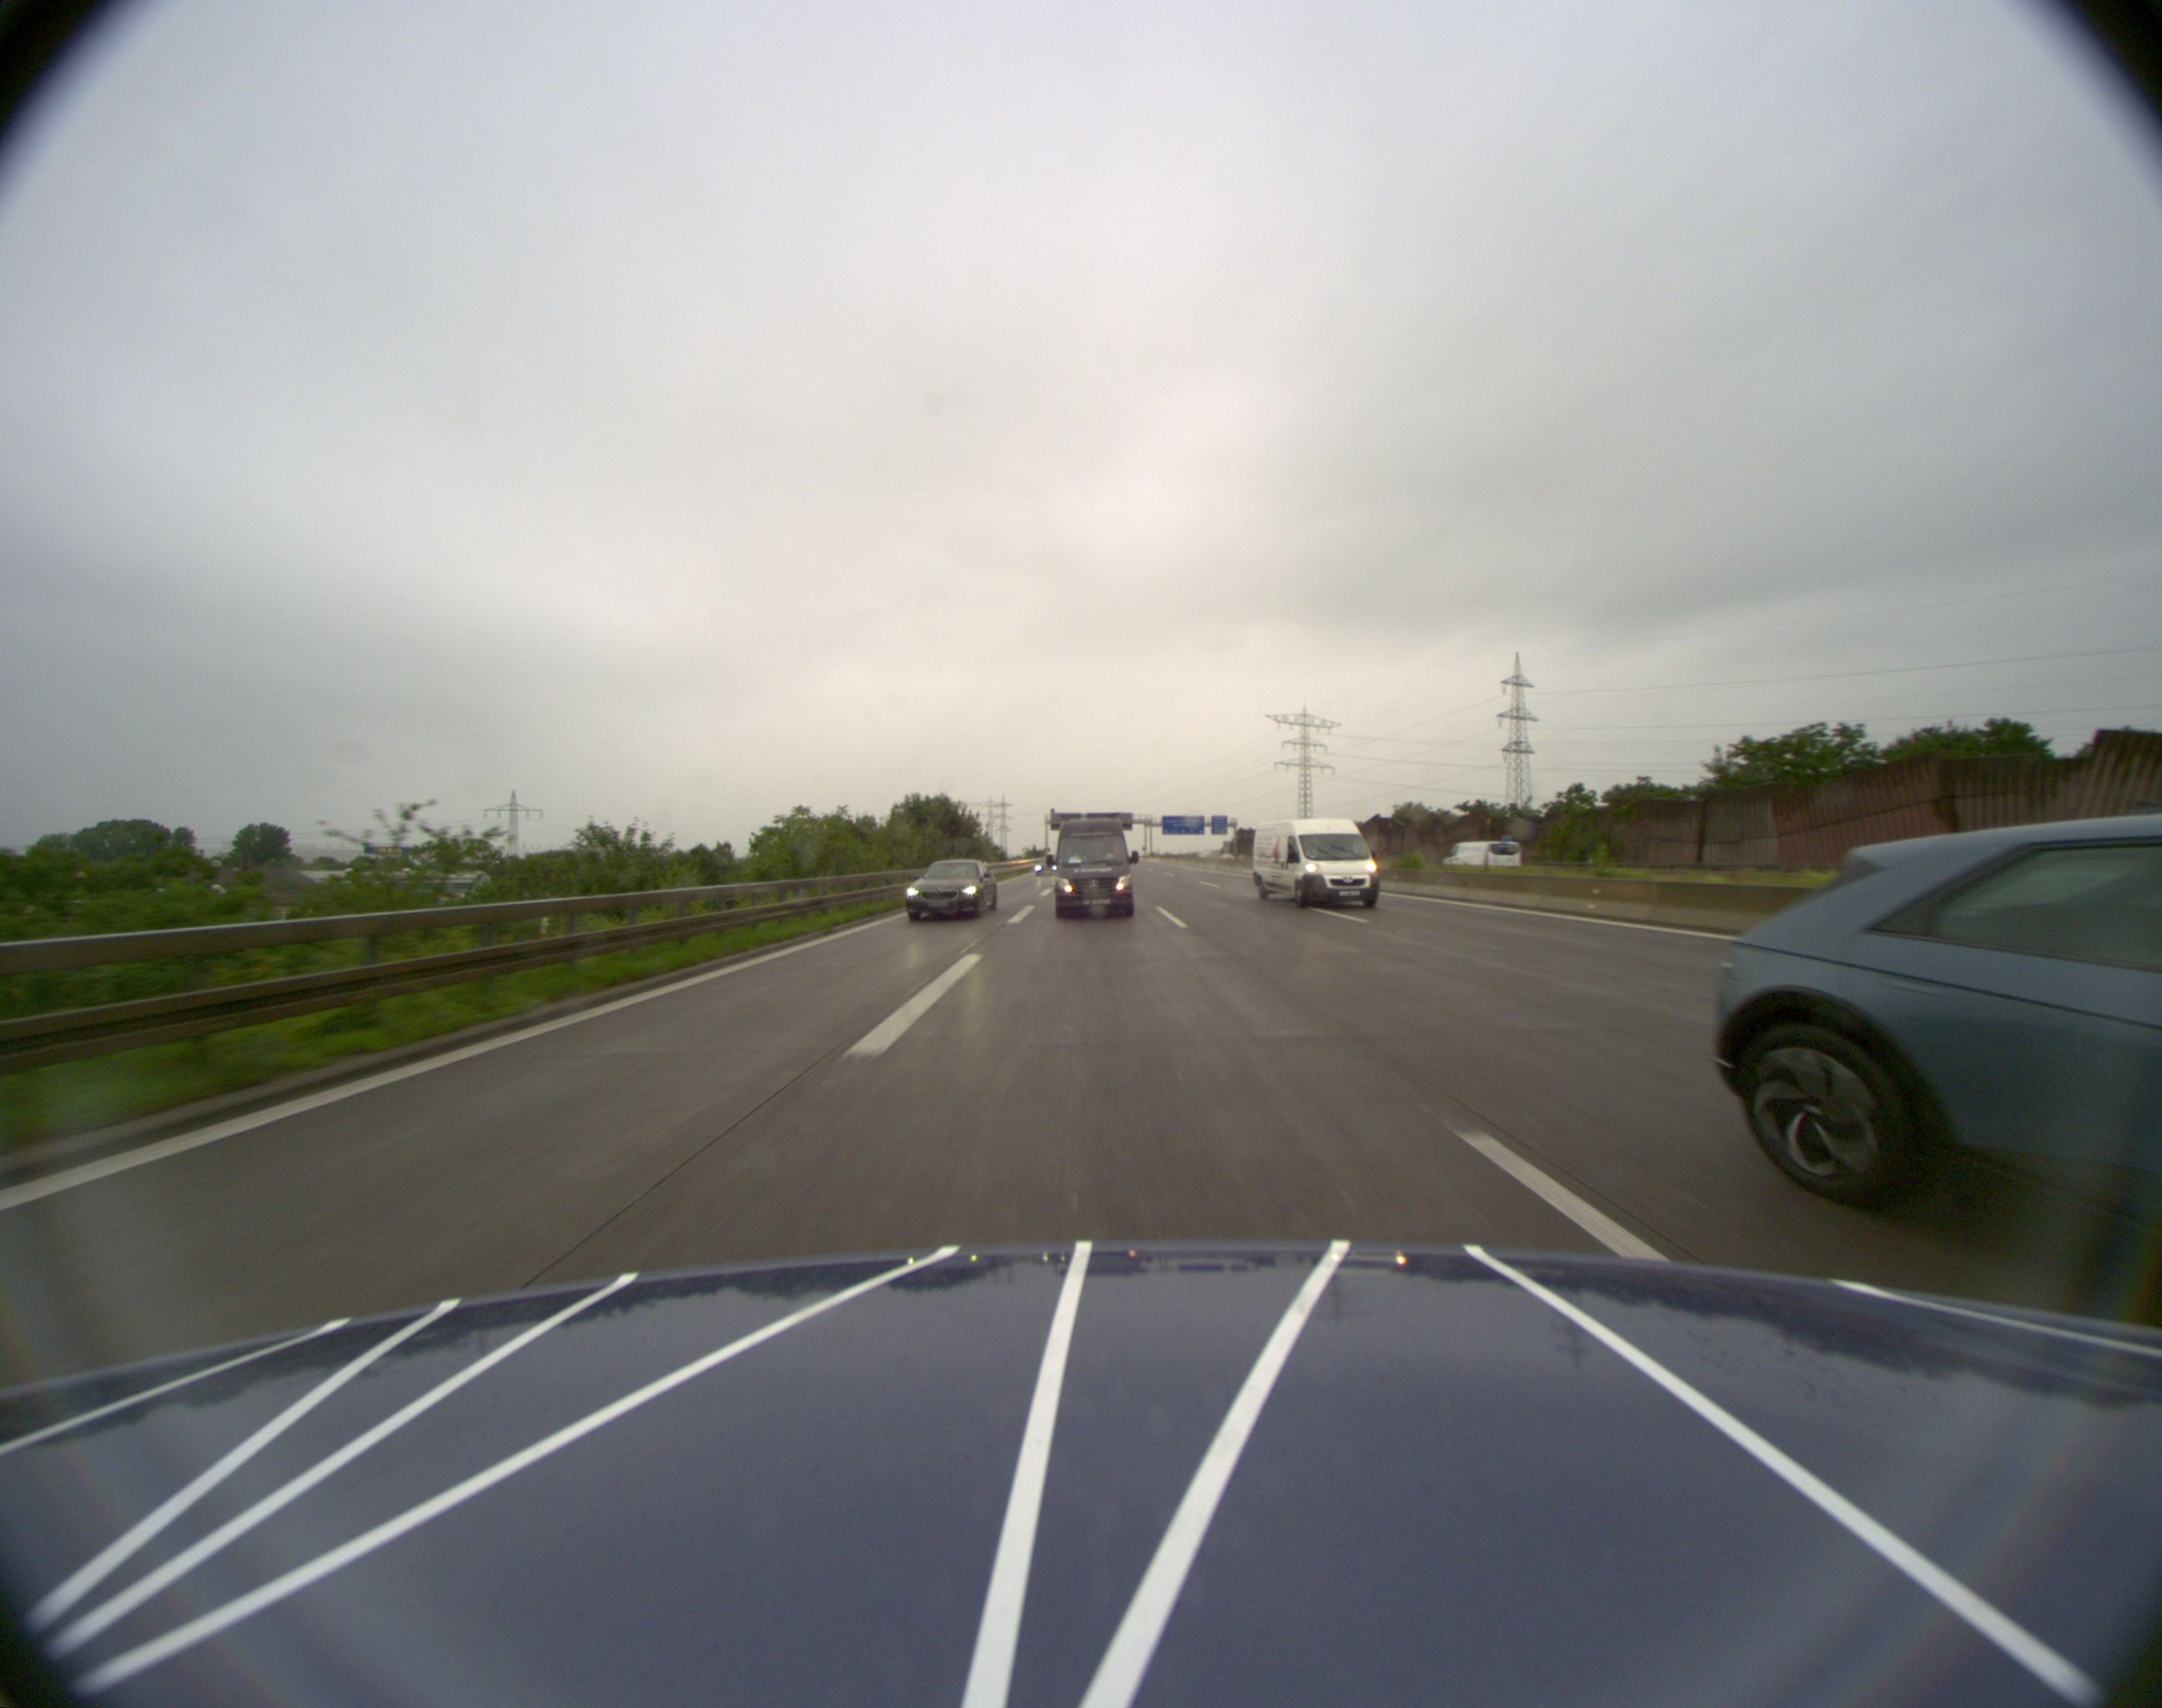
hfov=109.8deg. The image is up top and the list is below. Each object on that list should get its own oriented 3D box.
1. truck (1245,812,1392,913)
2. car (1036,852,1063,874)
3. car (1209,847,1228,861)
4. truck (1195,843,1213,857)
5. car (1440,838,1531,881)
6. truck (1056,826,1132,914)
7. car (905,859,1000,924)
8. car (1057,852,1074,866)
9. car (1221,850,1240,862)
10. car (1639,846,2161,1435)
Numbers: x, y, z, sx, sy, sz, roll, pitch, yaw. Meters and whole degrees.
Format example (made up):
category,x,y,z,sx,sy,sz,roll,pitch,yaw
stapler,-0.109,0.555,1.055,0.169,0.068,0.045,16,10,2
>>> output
category,x,y,z,sx,sy,sz,roll,pitch,yaw
truck,6.722,0.210,22.550,2.243,2.464,6.582,-2,0,0
car,-2.491,0.685,61.648,1.998,1.706,4.000,1,0,0
car,17.969,0.034,99.533,1.858,1.729,4.000,-1,0,2
truck,20.767,-0.687,128.387,2.150,2.193,5.419,-1,0,2
car,20.503,0.247,38.823,1.998,2.002,5.133,-1,0,1
truck,0.282,0.415,23.336,1.999,2.324,6.109,-1,1,-1
car,-3.414,0.942,20.894,1.862,1.531,4.203,-2,0,0
car,-2.018,0.663,100.190,1.998,1.706,4.000,1,0,0
car,21.500,0.277,109.636,1.998,1.729,4.466,-1,0,2
car,3.883,0.795,1.457,1.843,1.585,5.155,-2,0,0
